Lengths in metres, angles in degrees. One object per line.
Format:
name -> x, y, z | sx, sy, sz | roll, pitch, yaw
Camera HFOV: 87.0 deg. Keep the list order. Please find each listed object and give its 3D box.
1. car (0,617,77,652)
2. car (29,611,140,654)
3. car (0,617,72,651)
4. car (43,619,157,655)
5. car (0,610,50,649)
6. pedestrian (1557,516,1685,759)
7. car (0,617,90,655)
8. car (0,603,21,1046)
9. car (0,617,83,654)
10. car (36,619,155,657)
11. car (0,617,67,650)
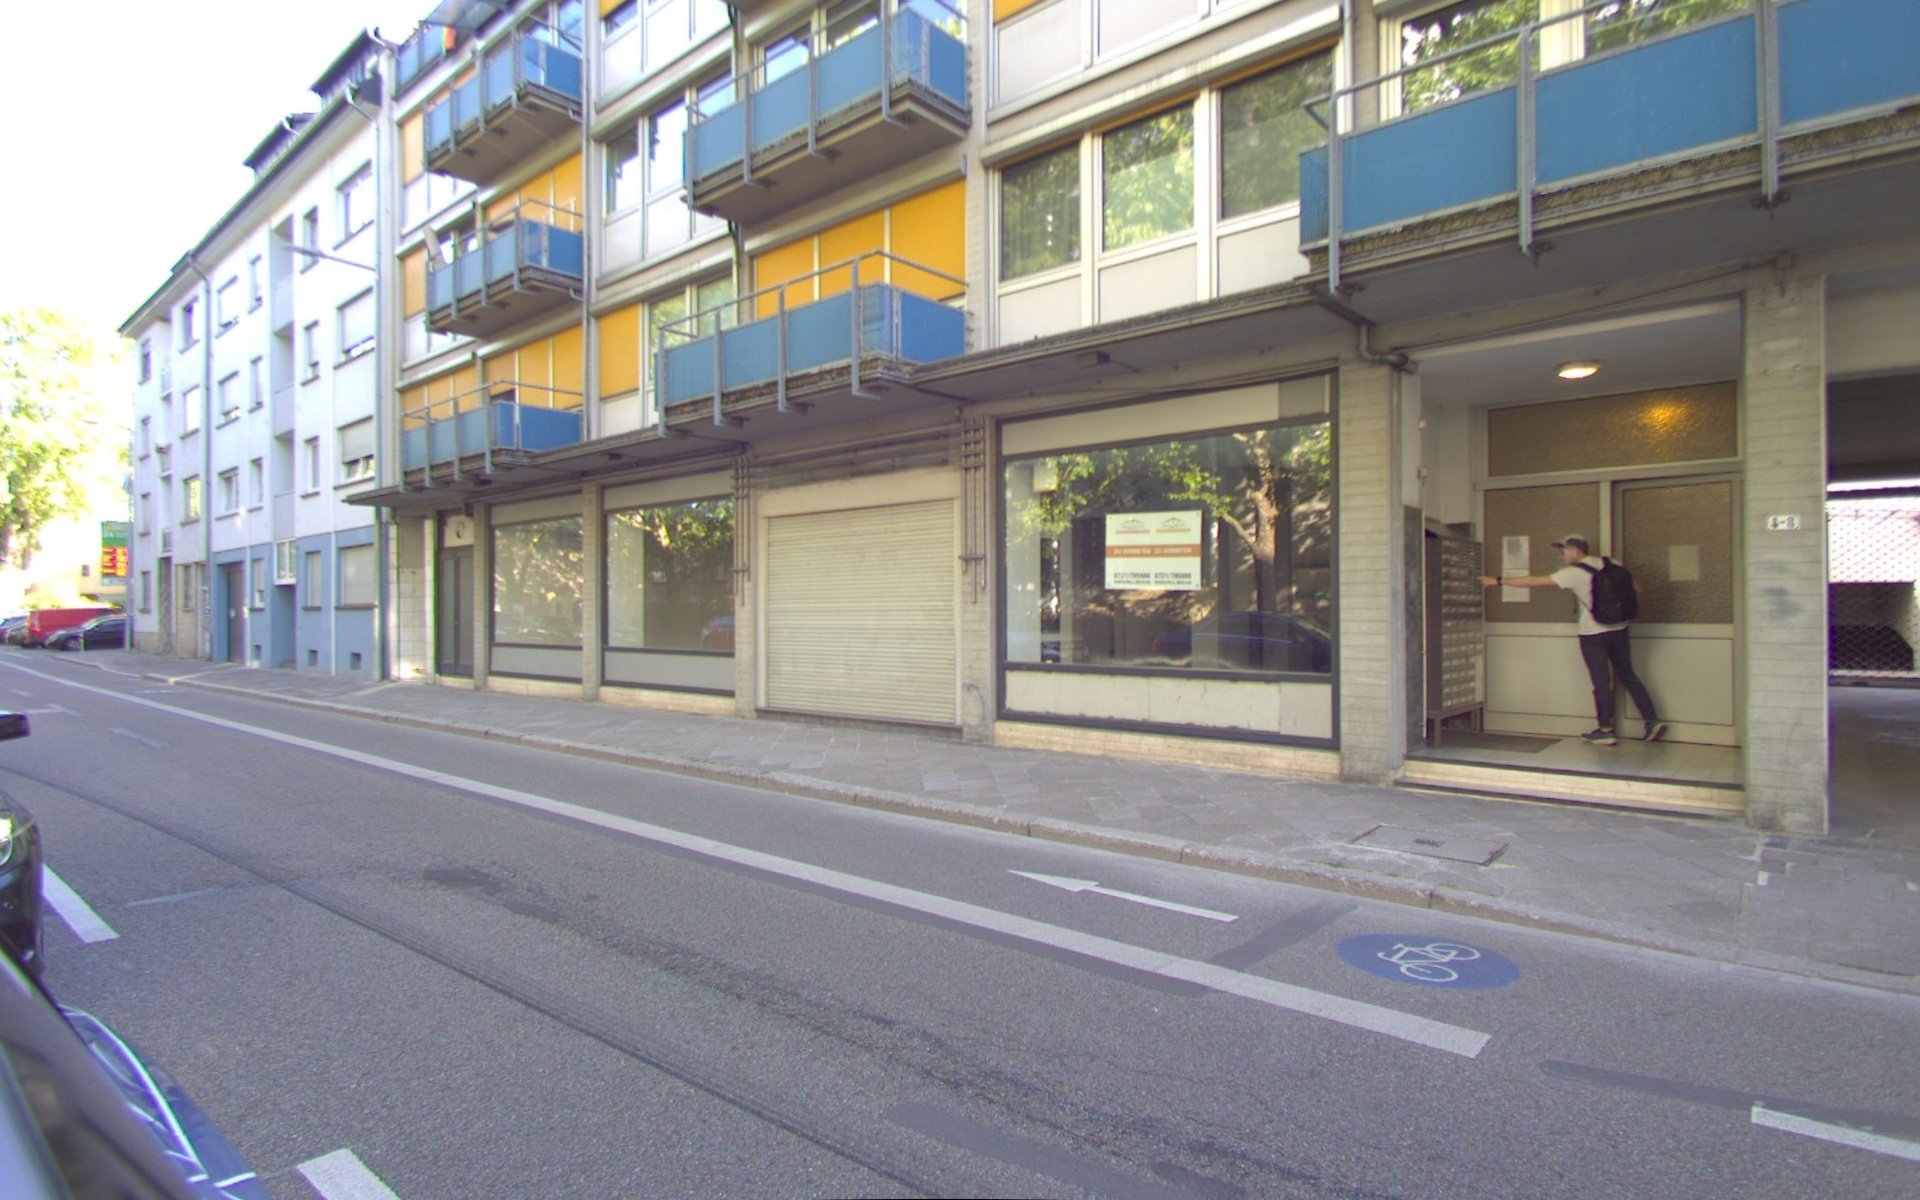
car -> -55.616, 2.056, 60.565 | 2.000, 1.962, 3.944 | -1, 0, 42
car -> -43.444, 1.568, 50.252 | 2.000, 1.962, 3.944 | -1, 0, 42
car -> -57.422, 2.080, 62.282 | 2.000, 1.962, 3.944 | -1, 0, 42
car -> -41.189, 1.738, 48.527 | 2.000, 1.564, 3.944 | -1, 0, 42
car -> -62.814, 1.950, 66.784 | 2.000, 2.538, 3.944 | -1, 0, 42
pedestrian -> 5.475, 0.293, 8.390 | 0.787, 1.894, 0.573 | -1, 0, 43
car -> -51.584, 2.005, 56.829 | 2.000, 1.962, 3.944 | -1, 0, 42
car -> -5.533, 0.807, 4.282 | 4.479, 1.512, 1.842 | -1, -1, 41
car -> -53.535, 2.030, 58.612 | 2.000, 1.962, 3.944 | -1, 0, 42
car -> -39.770, 1.720, 46.606 | 2.000, 1.564, 3.944 | -1, 0, 42
car -> -59.222, 2.103, 64.015 | 2.000, 1.962, 3.944 | -1, 0, 42
